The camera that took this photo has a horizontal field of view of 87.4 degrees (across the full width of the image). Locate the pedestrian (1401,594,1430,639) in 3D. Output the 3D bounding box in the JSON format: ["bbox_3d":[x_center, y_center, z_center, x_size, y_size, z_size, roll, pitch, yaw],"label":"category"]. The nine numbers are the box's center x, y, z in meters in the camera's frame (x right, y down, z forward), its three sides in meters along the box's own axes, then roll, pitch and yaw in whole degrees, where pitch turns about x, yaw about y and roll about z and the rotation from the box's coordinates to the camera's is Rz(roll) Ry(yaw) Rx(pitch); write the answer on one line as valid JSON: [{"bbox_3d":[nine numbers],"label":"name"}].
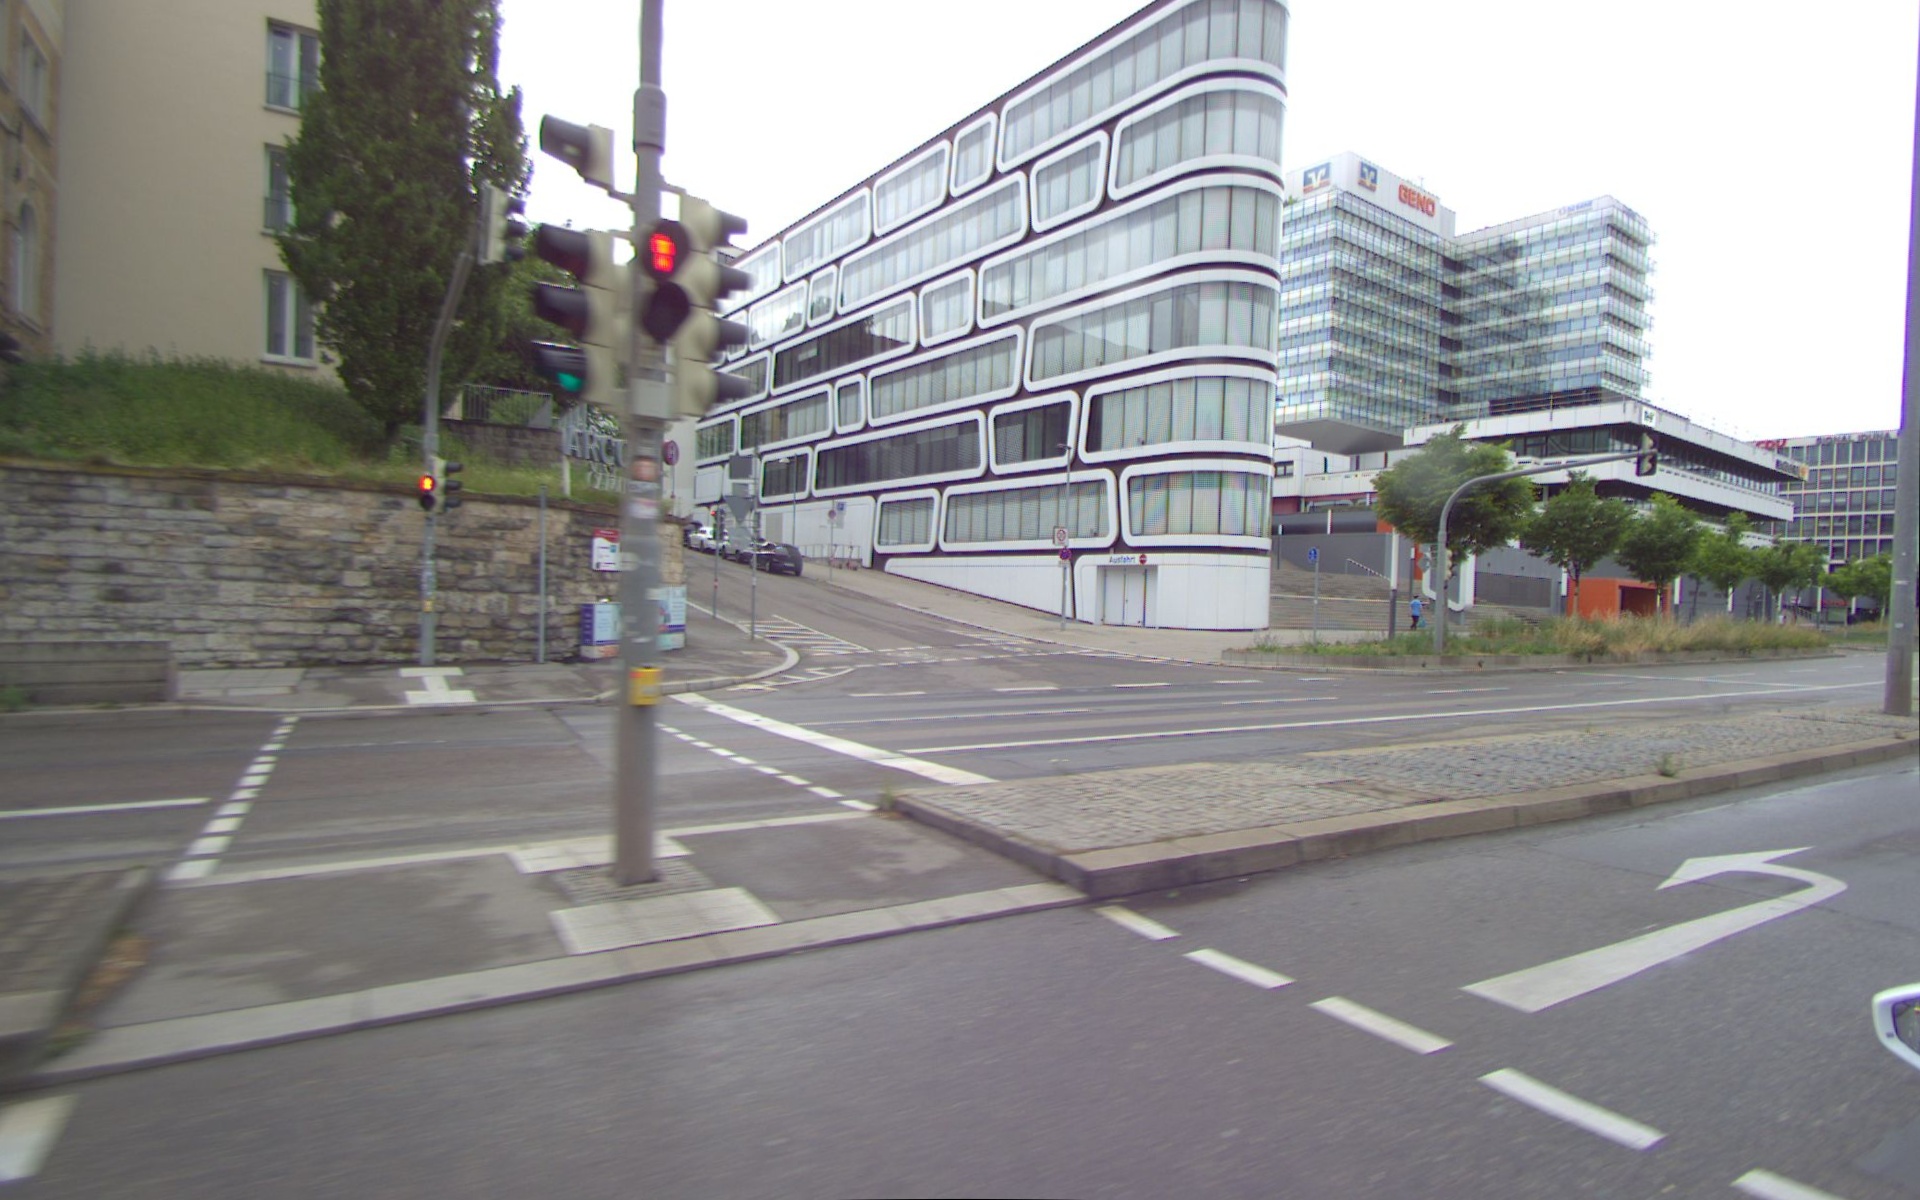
[{"bbox_3d":[20.896,0.743,46.078,0.707,2.040,1.024,-1,0,-31],"label":"pedestrian"}]

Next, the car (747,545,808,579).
[{"bbox_3d":[-9.052,-1.848,49.638,1.836,1.528,3.970,-1,0,-29],"label":"car"}]

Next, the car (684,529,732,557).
[{"bbox_3d":[-14.921,-3.327,59.414,1.836,1.528,3.969,-1,1,-29],"label":"car"}]

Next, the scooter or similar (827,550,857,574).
[{"bbox_3d":[-6.593,-2.110,56.114,0.643,1.276,2.674,-1,0,-31],"label":"scooter or similar"}]

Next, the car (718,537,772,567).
[{"bbox_3d":[-11.672,-2.561,54.379,1.836,1.528,3.969,-1,1,-29],"label":"car"}]

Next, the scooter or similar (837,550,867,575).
[{"bbox_3d":[-6.131,-2.113,56.739,0.643,1.276,2.674,-1,0,-31],"label":"scooter or similar"}]

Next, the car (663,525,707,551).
[{"bbox_3d":[-17.653,-3.930,64.314,1.836,1.528,3.969,-1,2,-29],"label":"car"}]
